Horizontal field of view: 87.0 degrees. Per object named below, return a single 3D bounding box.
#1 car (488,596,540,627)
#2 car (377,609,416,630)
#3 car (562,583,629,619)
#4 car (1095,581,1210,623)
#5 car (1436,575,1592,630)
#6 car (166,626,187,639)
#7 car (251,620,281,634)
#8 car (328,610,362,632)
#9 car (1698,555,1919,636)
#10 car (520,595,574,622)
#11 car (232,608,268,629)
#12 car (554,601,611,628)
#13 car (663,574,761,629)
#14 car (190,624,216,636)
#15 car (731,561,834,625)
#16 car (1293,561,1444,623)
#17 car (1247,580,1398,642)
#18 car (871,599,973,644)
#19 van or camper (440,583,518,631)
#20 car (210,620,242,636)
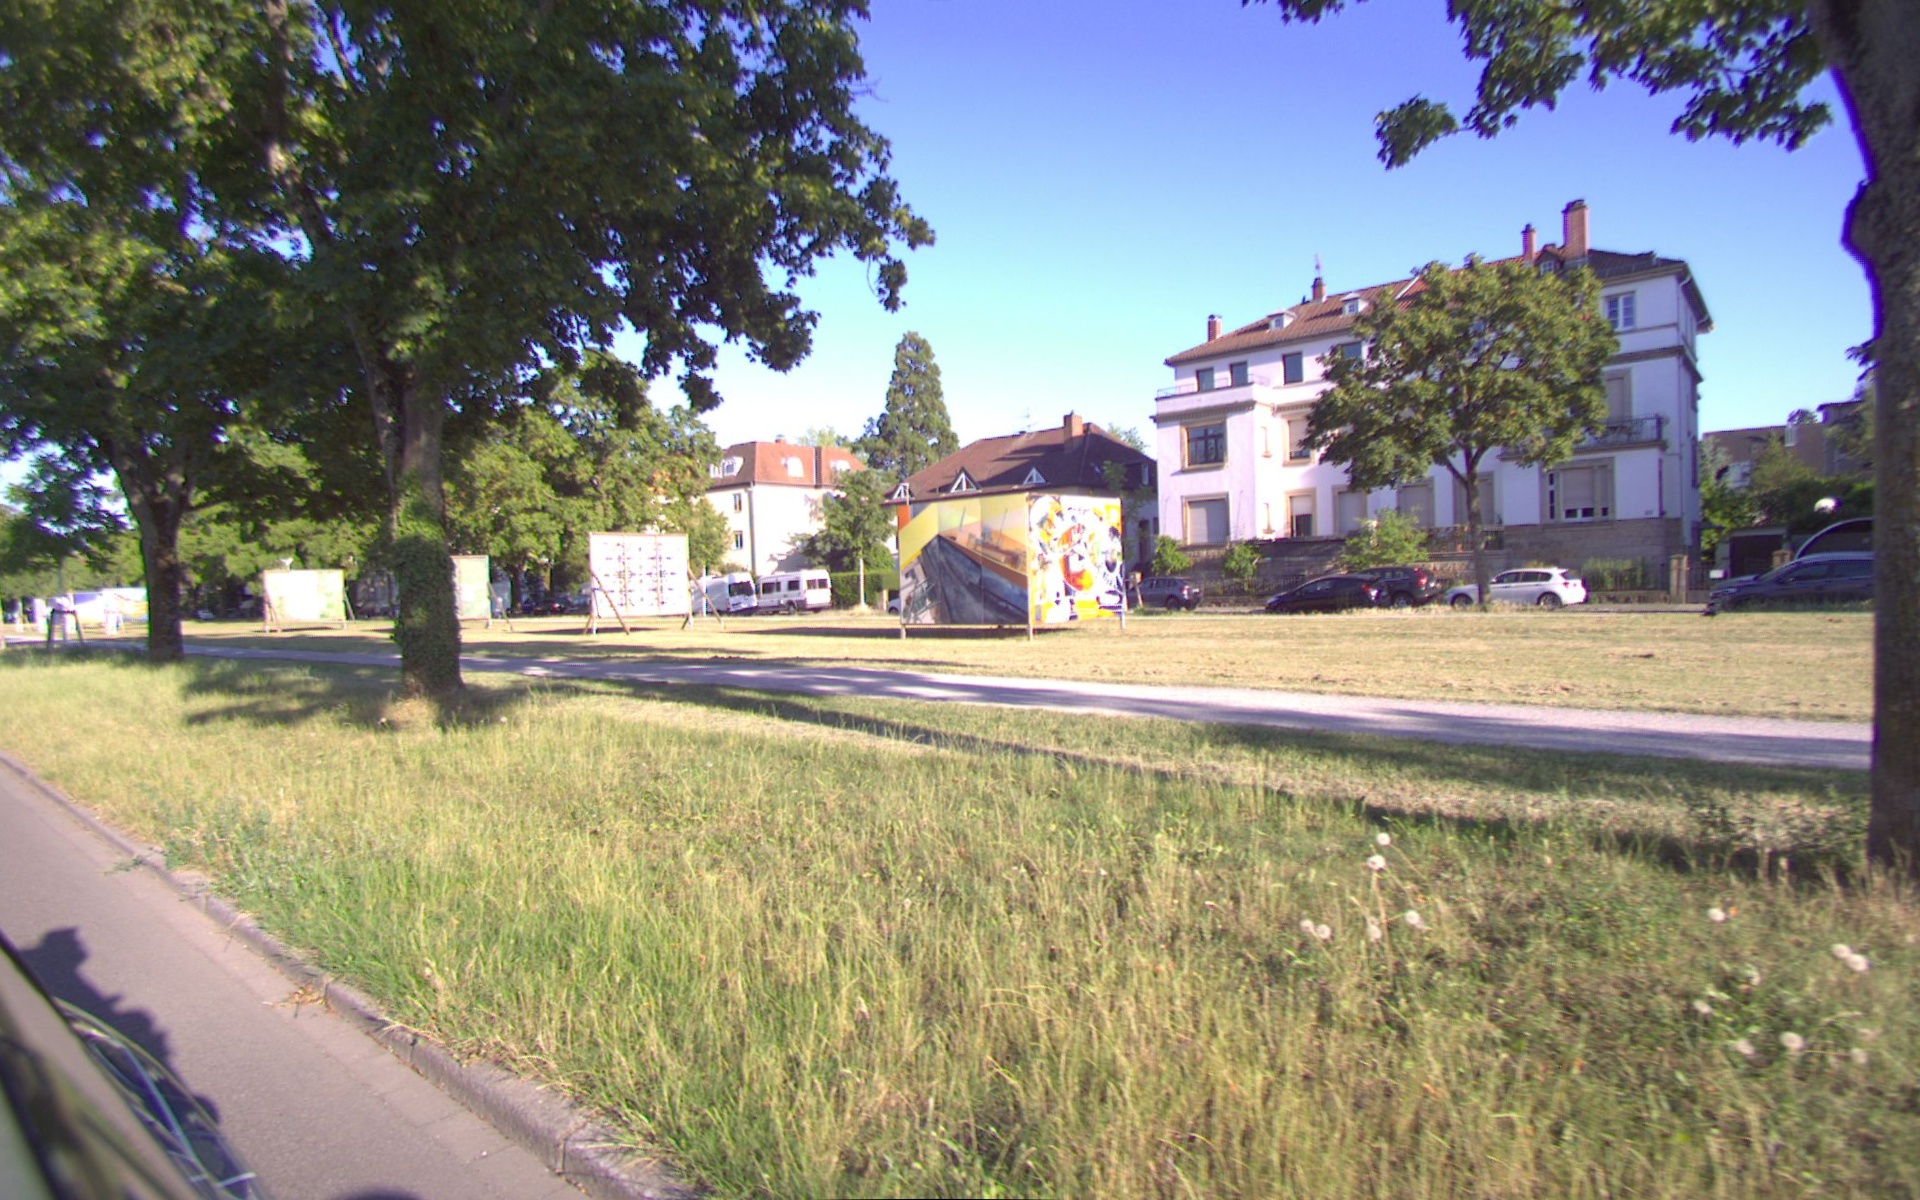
[{"bbox_3d":[-36.863,0.963,83.551,5.115,2.437,1.917,0,-2,42],"label":"car"},{"bbox_3d":[-55.617,1.889,99.852,4.712,1.926,1.870,-2,1,42],"label":"car"},{"bbox_3d":[-27.302,0.098,75.754,6.087,2.617,1.973,0,-2,41],"label":"car"},{"bbox_3d":[8.334,0.114,44.119,4.664,1.715,1.763,0,-2,41],"label":"car"},{"bbox_3d":[19.081,0.103,34.960,4.459,1.757,1.802,0,-2,42],"label":"car"},{"bbox_3d":[-104.210,4.336,134.546,1.868,1.534,3.683,-2,0,-43],"label":"car"},{"bbox_3d":[-74.231,2.885,108.175,4.043,1.325,1.833,-1,2,44],"label":"car"},{"bbox_3d":[-65.459,2.276,107.740,3.999,2.170,1.973,-2,1,42],"label":"car"},{"bbox_3d":[21.198,-0.075,24.988,4.689,1.842,1.908,0,-2,41],"label":"car"},{"bbox_3d":[-32.716,0.688,80.105,5.048,2.019,1.949,-2,1,42],"label":"car"},{"bbox_3d":[-78.460,2.025,111.840,4.565,2.191,1.974,-2,0,39],"label":"car"},{"bbox_3d":[-23.810,0.907,63.832,4.306,1.575,1.400,-1,1,40],"label":"car"},{"bbox_3d":[-13.629,0.093,55.418,5.869,2.847,2.237,0,-2,41],"label":"car"},{"bbox_3d":[-109.915,4.329,146.877,3.992,1.510,1.976,-2,0,37],"label":"car"},{"bbox_3d":[-10.670,-0.354,60.408,6.762,3.586,2.279,0,-2,41],"label":"car"},{"bbox_3d":[15.414,-0.262,38.308,4.853,2.147,2.214,0,-2,42],"label":"car"},{"bbox_3d":[11.920,0.371,33.446,4.325,1.931,1.870,0,-2,41],"label":"car"},{"bbox_3d":[-1.750,0.946,45.402,4.641,1.914,1.814,0,-2,42],"label":"car"},{"bbox_3d":[-35.389,0.514,74.334,6.902,3.287,2.614,-2,1,42],"label":"van or camper"},{"bbox_3d":[-85.938,3.291,118.493,4.341,1.742,1.974,-2,0,40],"label":"car"}]
